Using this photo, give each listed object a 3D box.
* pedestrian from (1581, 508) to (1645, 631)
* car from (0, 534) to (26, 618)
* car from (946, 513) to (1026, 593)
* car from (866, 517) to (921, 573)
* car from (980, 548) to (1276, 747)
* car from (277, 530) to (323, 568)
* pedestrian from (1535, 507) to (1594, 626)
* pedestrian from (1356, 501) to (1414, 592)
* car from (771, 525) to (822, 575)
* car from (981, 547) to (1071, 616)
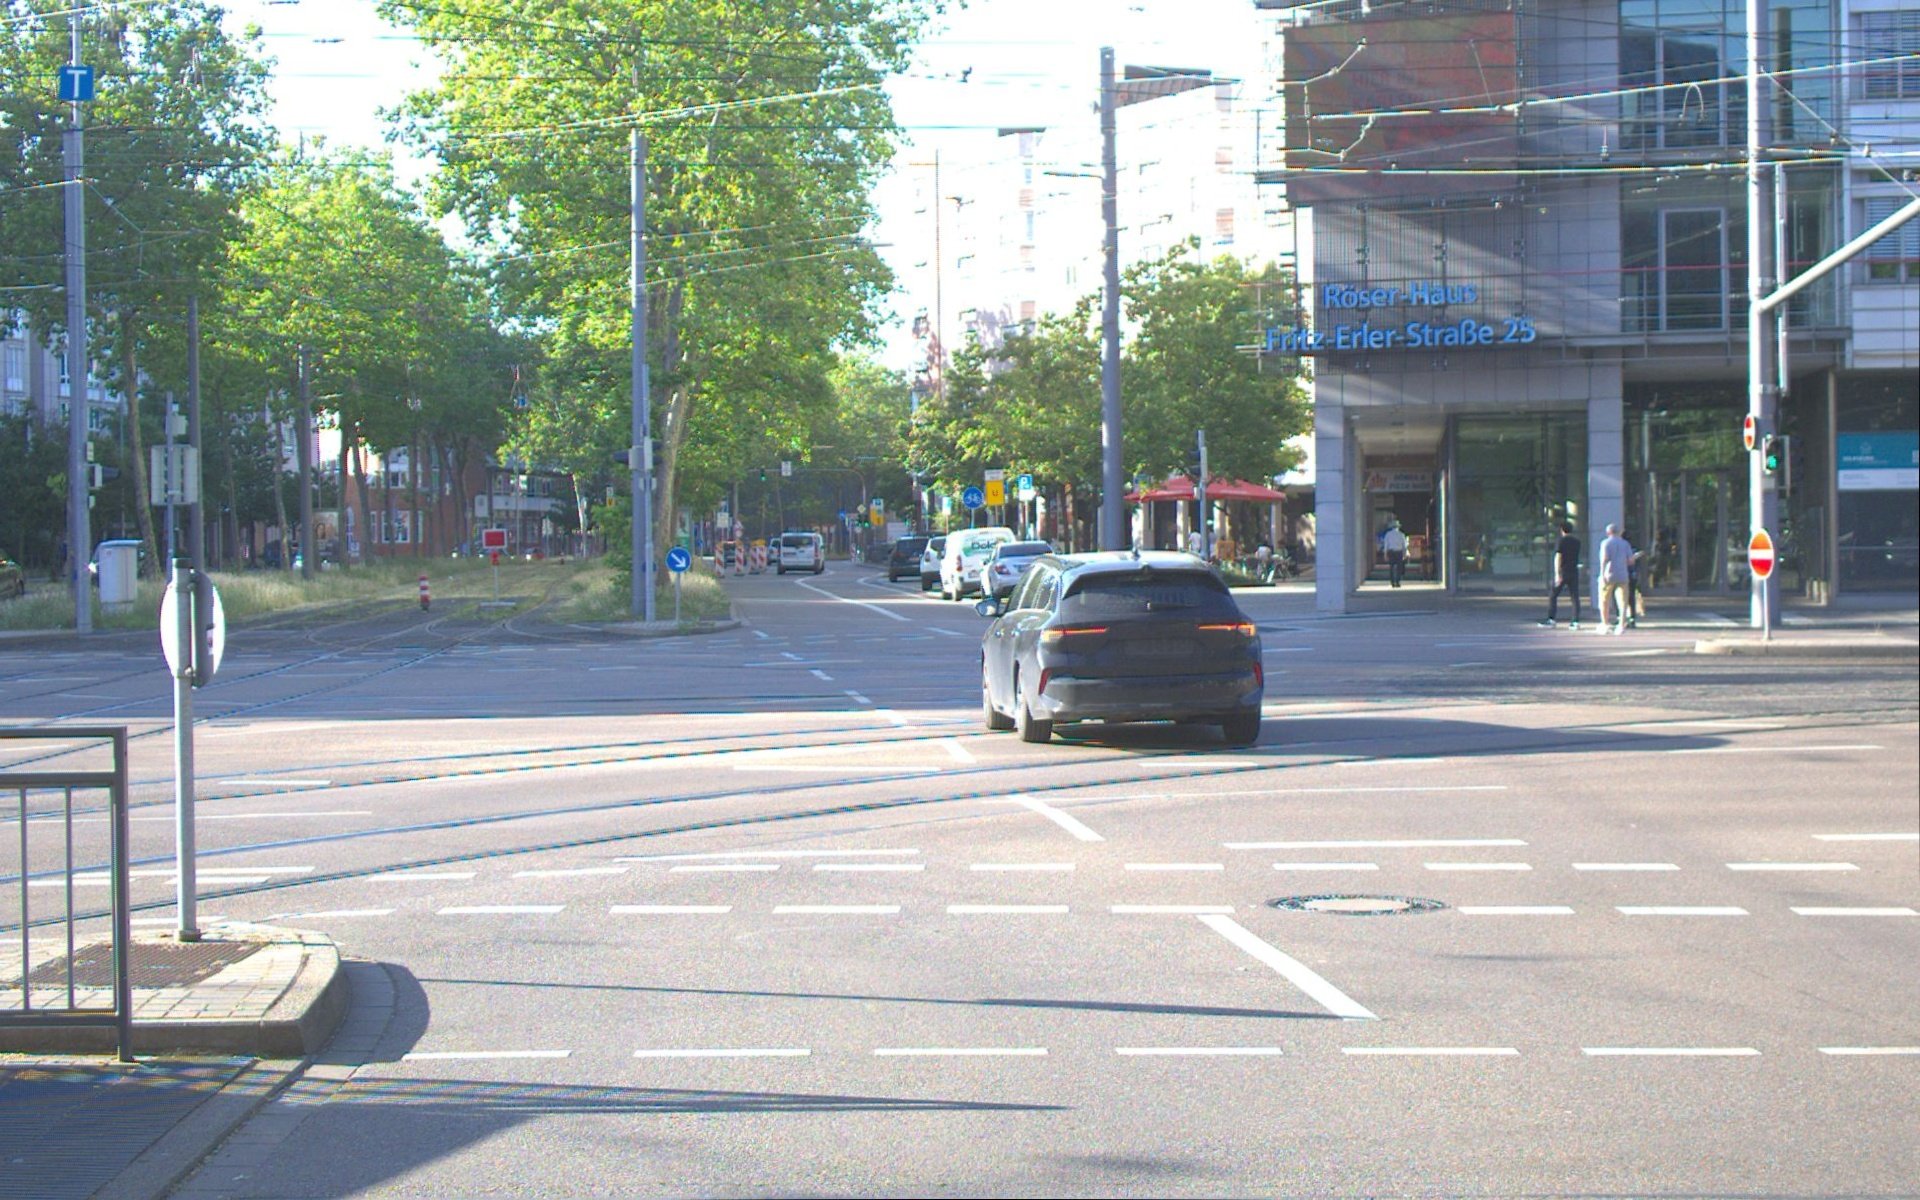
[{"bbox_3d":[10.778,-0.510,56.776,0.869,2.007,0.794,1,0,-1],"label":"pedestrian"},{"bbox_3d":[-21.574,-0.526,74.801,1.822,1.784,4.001,-1,1,-7],"label":"car"},{"bbox_3d":[0.652,-1.210,89.597,1.993,2.007,4.000,1,1,-1],"label":"car"},{"bbox_3d":[-2.436,-2.003,126.649,1.993,2.007,4.000,1,1,-1],"label":"car"},{"bbox_3d":[1.207,0.306,26.538,1.763,1.399,4.297,0,1,-4],"label":"car"},{"bbox_3d":[-29.052,-2.234,151.338,1.676,1.601,4.001,1,1,-6],"label":"car"},{"bbox_3d":[10.308,-0.574,58.651,0.849,2.007,0.708,1,0,-1],"label":"pedestrian"},{"bbox_3d":[10.265,-1.292,83.089,1.313,2.182,1.170,1,0,6],"label":"pedestrian"},{"bbox_3d":[-7.279,-2.218,153.407,1.993,2.007,4.000,1,-1,1],"label":"car"},{"bbox_3d":[1.557,-0.449,82.806,2.029,1.590,4.000,1,1,-1],"label":"car"}]
